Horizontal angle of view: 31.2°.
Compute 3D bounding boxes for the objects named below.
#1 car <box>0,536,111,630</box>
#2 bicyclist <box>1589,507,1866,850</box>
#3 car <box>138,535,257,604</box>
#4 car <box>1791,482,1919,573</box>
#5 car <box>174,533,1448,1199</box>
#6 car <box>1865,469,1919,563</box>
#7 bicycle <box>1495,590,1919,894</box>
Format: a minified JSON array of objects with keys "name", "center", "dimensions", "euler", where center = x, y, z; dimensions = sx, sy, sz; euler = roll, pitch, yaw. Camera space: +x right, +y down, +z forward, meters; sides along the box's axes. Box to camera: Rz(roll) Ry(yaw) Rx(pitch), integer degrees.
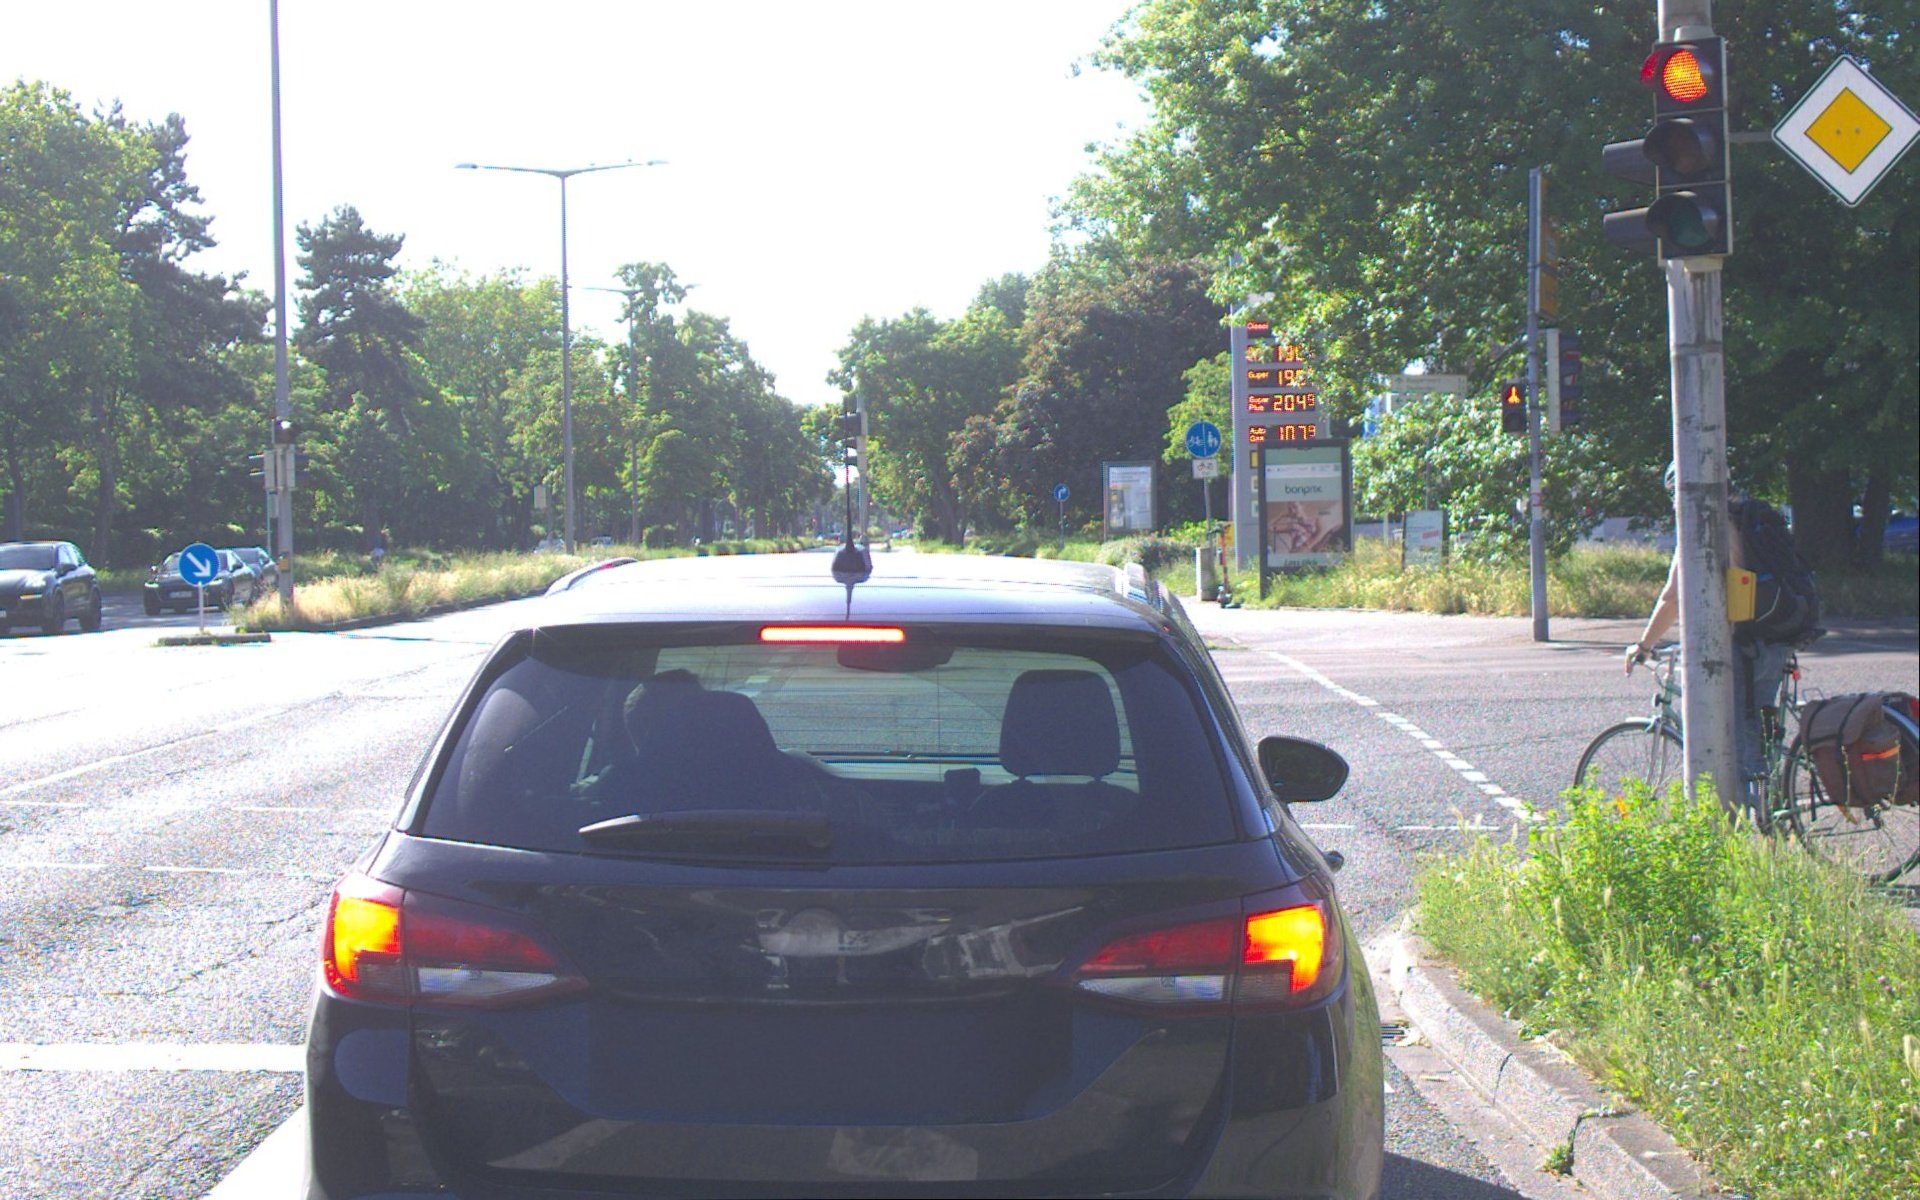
[{"name":"car","center":[-16.850,-0.318,61.872],"dimensions":[1.993,1.596,4.616],"euler":[-1,1,-1]},{"name":"bicyclist","center":[2.973,0.304,13.341],"dimensions":[0.536,1.272,0.829],"euler":[-3,0,-44]},{"name":"car","center":[-17.265,-0.714,77.988],"dimensions":[1.776,1.458,4.165],"euler":[-1,1,-1]},{"name":"car","center":[16.621,-1.287,59.811],"dimensions":[3.887,1.512,1.746],"euler":[-2,1,-23]},{"name":"car","center":[-0.230,0.630,6.857],"dimensions":[1.756,1.490,4.207],"euler":[0,1,-1]},{"name":"car","center":[17.097,-1.428,56.725],"dimensions":[3.887,1.512,1.746],"euler":[-2,1,-23]},{"name":"bicycle","center":[2.981,0.545,13.343],"dimensions":[0.536,1.094,1.775],"euler":[-3,0,-44]}]
